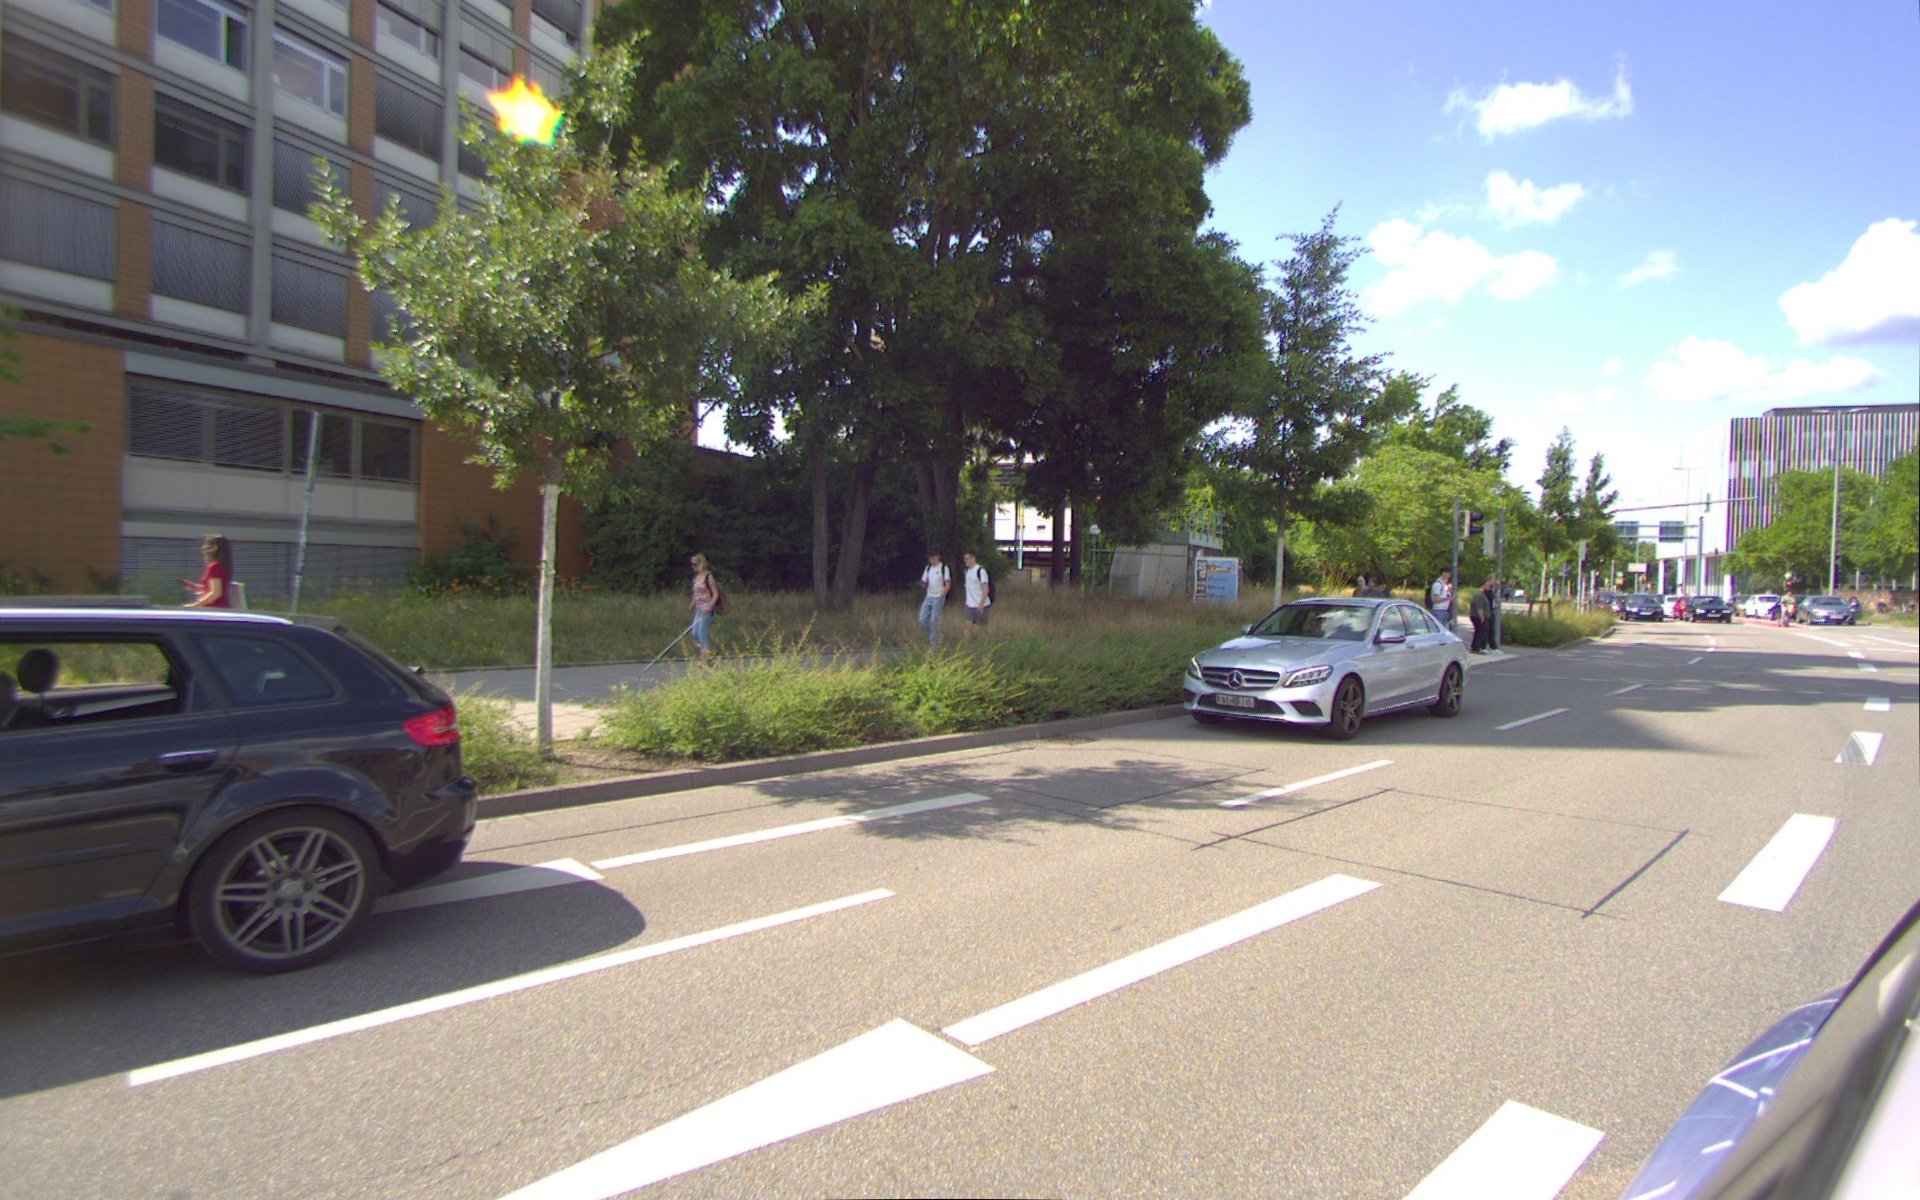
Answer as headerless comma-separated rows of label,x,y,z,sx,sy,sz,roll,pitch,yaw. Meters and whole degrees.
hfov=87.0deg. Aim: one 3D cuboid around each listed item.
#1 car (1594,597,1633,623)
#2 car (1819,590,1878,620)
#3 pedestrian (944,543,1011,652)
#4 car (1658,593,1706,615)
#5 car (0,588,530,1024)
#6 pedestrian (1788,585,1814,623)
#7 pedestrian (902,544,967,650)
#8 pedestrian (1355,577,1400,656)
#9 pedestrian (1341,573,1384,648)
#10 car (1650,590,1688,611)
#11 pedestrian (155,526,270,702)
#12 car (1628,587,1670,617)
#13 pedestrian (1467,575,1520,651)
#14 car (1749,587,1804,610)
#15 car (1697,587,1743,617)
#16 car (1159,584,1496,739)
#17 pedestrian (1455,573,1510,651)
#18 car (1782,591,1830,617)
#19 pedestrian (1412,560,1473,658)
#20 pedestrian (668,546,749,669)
car,39.216,0.568,60.723,1.815,1.481,3.950,1,1,35
car,43.781,0.196,49.945,1.990,1.393,4.210,1,1,39
pedestrian,0.294,-0.060,16.634,0.614,1.720,0.876,5,4,44
car,41.421,0.195,58.108,1.582,1.148,3.597,1,1,25
car,-3.954,0.668,3.700,4.062,1.389,1.701,0,2,-42
pedestrian,39.381,0.180,47.389,0.731,1.736,0.868,0,0,27
pedestrian,-0.434,-0.065,17.252,0.614,1.720,0.876,5,4,44
pedestrian,9.534,0.359,23.105,0.765,1.757,0.708,0,0,41
pedestrian,9.582,0.236,24.106,0.765,1.757,0.708,0,0,41
car,44.732,-0.015,63.834,1.898,1.148,4.052,1,3,35
pedestrian,-7.403,0.115,10.019,0.874,1.642,0.615,0,4,-41
car,36.760,0.081,53.978,1.815,1.481,3.950,1,1,35
pedestrian,12.646,0.296,23.991,0.755,1.757,0.926,0,0,-43
car,50.483,-0.104,62.644,1.761,1.371,3.966,0,1,25
car,39.822,0.070,53.096,1.815,1.481,3.949,1,1,35
car,4.527,0.567,12.051,4.680,1.473,1.932,0,1,-44
pedestrian,12.103,0.273,23.452,0.755,1.757,0.926,0,0,-43
car,47.064,0.202,56.349,1.722,1.351,3.742,0,1,35
pedestrian,10.308,0.190,21.645,0.755,2.039,0.963,0,0,-43
pedestrian,-3.534,0.086,14.218,0.614,1.642,0.876,5,4,44
